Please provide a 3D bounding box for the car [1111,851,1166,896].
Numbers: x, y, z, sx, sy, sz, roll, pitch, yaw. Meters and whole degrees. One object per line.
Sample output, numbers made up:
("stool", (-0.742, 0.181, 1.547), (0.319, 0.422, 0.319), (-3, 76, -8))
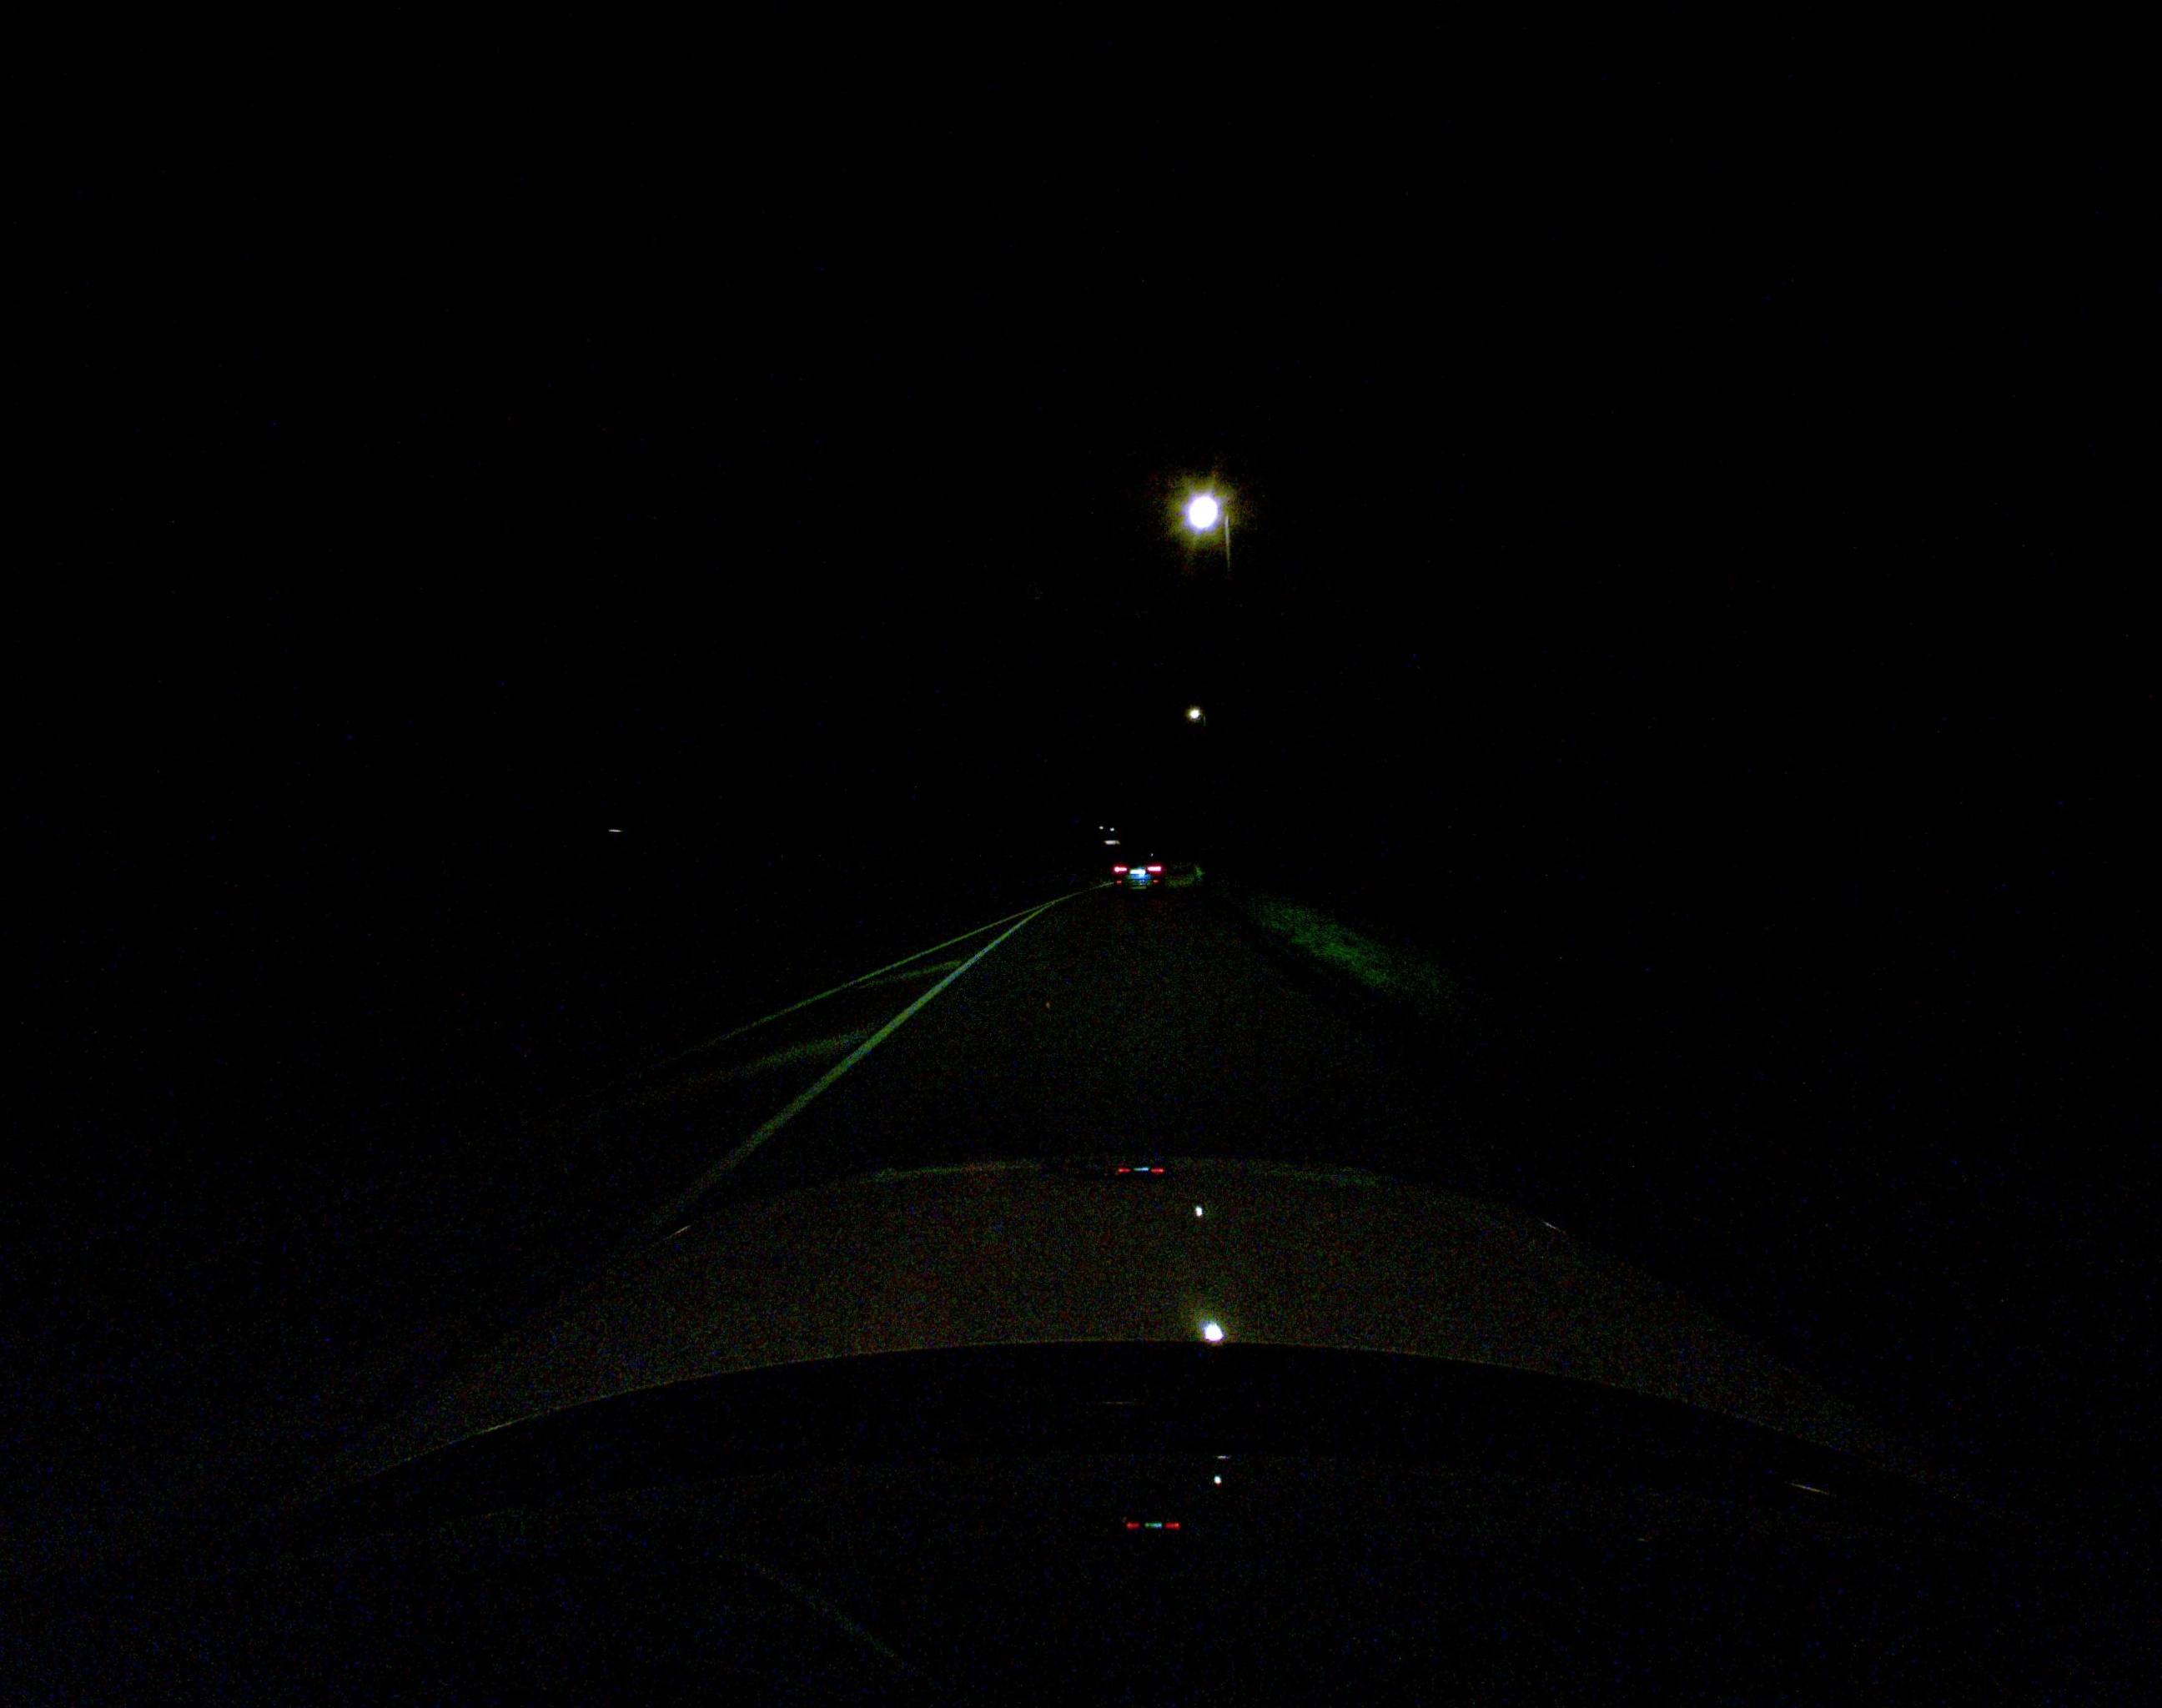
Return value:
("car", (2.232, 0.687, 30.616), (1.805, 1.573, 3.951), (-1, 0, 7))
